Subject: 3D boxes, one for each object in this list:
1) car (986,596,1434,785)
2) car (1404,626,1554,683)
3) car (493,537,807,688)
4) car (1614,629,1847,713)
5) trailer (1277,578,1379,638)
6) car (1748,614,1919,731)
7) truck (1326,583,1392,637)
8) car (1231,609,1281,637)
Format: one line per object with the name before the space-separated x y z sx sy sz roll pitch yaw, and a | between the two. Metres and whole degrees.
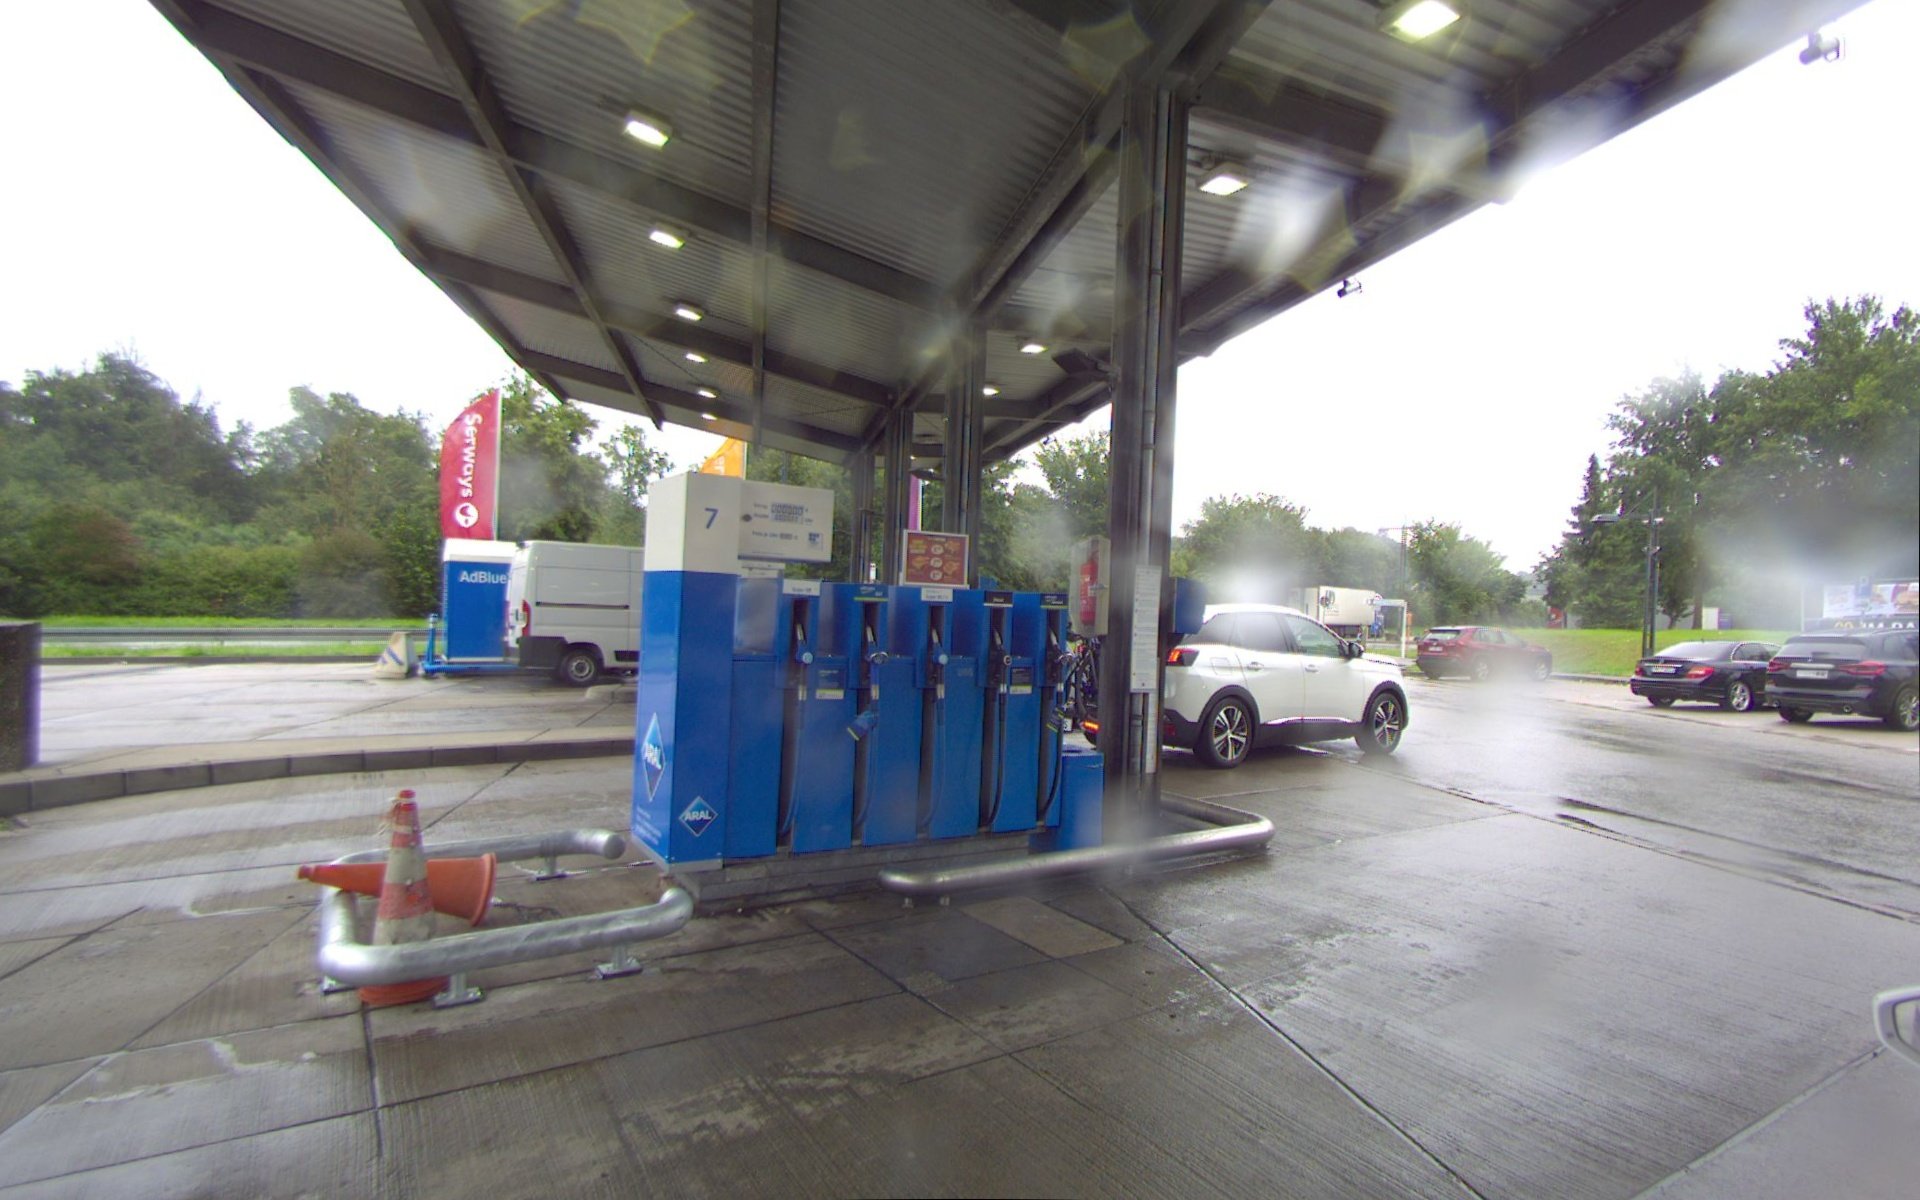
car | 2.805 0.820 10.695 4.953 1.586 1.802 1 0 -35
car | 16.012 1.652 30.981 4.294 1.617 1.879 1 -1 -24
car | -5.764 0.273 18.969 5.227 2.496 2.306 1 -1 -34
car | 15.949 1.422 20.835 4.119 1.585 1.883 1 -1 -19
trailer | 30.922 0.766 83.868 3.416 4.618 13.847 2 0 40
car | 16.162 1.193 17.415 4.344 1.852 1.883 1 -1 -19
truck | 35.594 0.937 89.471 3.416 4.618 6.704 2 0 40
car | 20.903 1.626 70.825 1.903 1.862 4.373 1 0 38
